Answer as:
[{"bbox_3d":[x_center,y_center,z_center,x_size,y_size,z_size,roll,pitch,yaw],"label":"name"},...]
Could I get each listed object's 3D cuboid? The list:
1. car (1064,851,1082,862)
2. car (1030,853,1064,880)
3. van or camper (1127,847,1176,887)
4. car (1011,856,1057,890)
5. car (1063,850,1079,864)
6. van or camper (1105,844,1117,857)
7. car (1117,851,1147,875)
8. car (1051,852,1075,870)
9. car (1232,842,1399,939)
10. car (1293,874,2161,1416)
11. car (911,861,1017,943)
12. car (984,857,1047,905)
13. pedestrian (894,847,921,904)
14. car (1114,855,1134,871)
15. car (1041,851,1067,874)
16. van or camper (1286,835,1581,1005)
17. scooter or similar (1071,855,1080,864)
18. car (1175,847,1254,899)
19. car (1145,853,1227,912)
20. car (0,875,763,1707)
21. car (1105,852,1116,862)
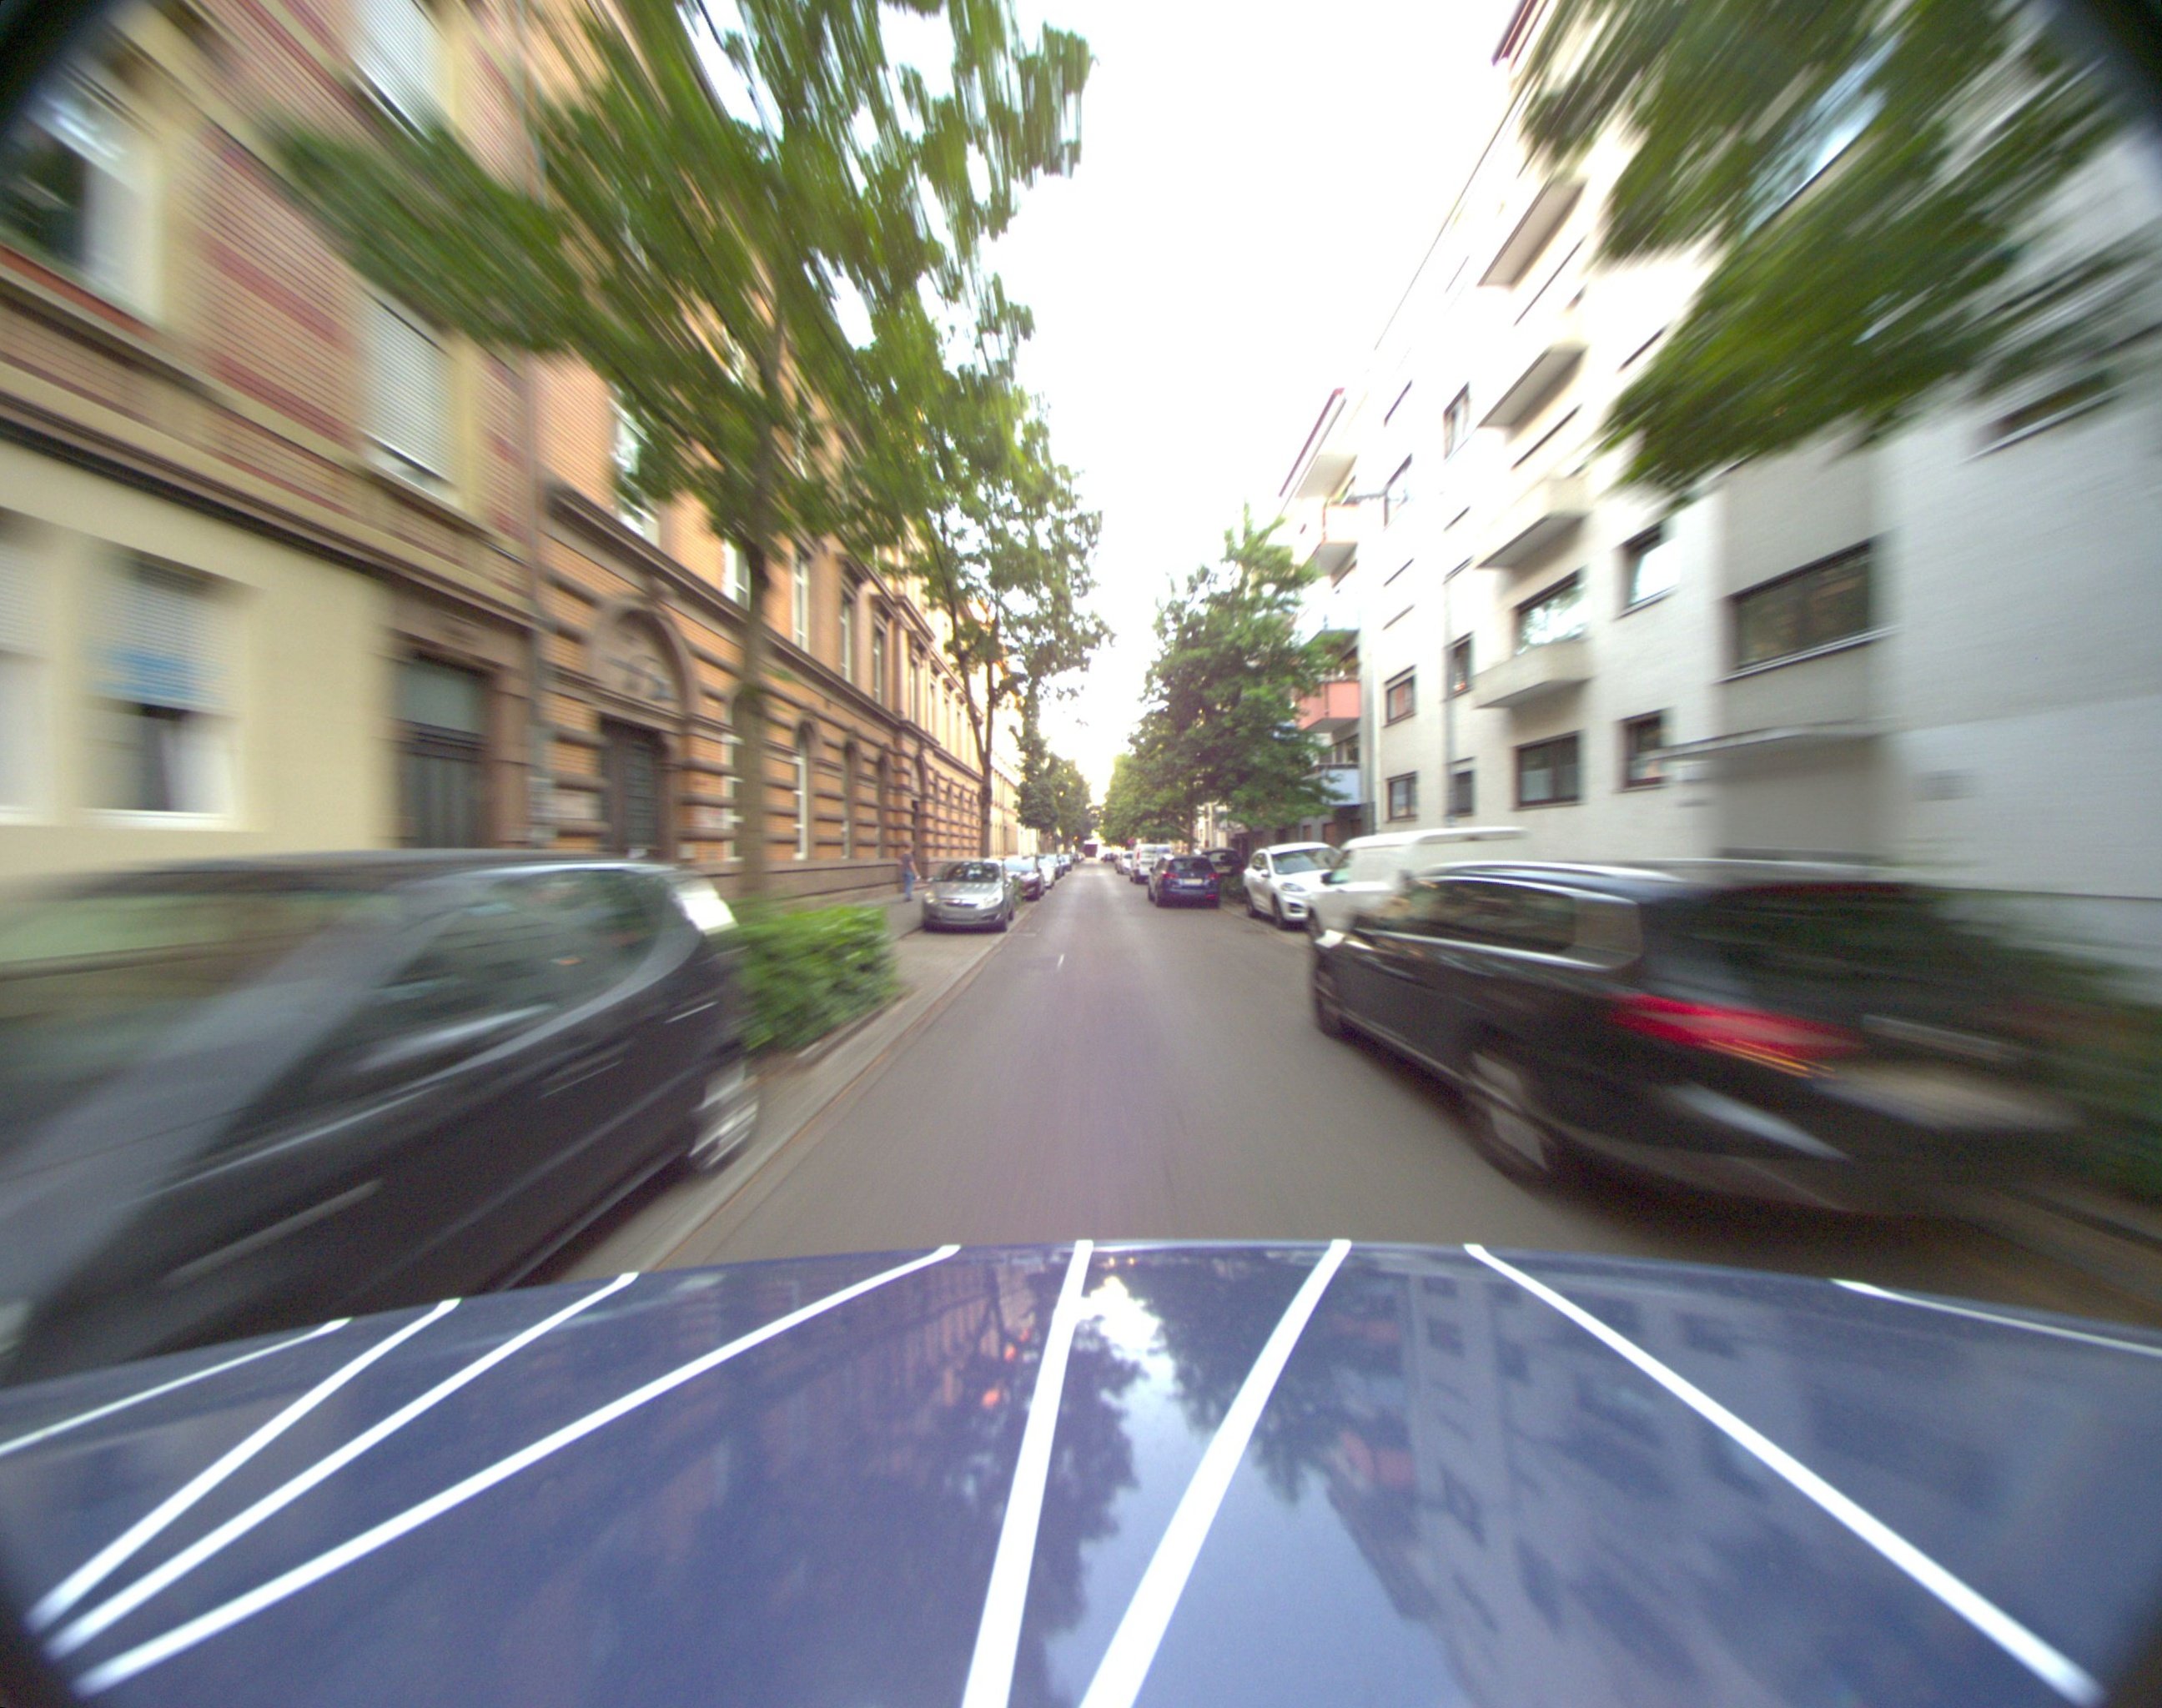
[{"bbox_3d":[-1.237,0.453,121.004,2.804,1.590,1.800,2,1,1],"label":"car"},{"bbox_3d":[-1.894,0.663,43.554,1.716,1.469,4.192,-1,0,0],"label":"car"},{"bbox_3d":[3.384,0.581,37.135,1.881,1.832,4.752,0,0,-1],"label":"van or camper"},{"bbox_3d":[-2.000,0.787,33.584,1.698,1.393,4.646,0,0,0],"label":"car"},{"bbox_3d":[-1.373,0.407,103.165,2.018,1.822,4.811,1,0,1],"label":"car"},{"bbox_3d":[5.624,-0.638,143.307,2.225,2.417,5.660,0,0,1],"label":"van or camper"},{"bbox_3d":[3.470,0.591,52.399,1.668,1.554,3.999,0,0,-2],"label":"car"},{"bbox_3d":[-1.501,0.584,64.726,1.771,1.407,4.474,1,0,1],"label":"car"},{"bbox_3d":[4.774,0.673,16.311,2.039,1.662,4.648,-4,0,0],"label":"car"},{"bbox_3d":[2.782,0.929,4.499,1.851,1.443,4.502,-1,0,1],"label":"car"},{"bbox_3d":[-2.373,0.928,16.338,1.702,1.474,3.999,1,0,-1],"label":"car"},{"bbox_3d":[-2.162,0.850,26.109,1.726,1.441,4.214,0,1,1],"label":"car"},{"bbox_3d":[-5.018,0.613,21.996,0.628,1.639,0.532,-1,1,1],"label":"pedestrian"},{"bbox_3d":[3.872,0.766,68.969,1.584,1.411,3.753,0,0,1],"label":"car"},{"bbox_3d":[-1.753,0.541,49.747,1.632,1.458,4.245,0,0,-1],"label":"car"},{"bbox_3d":[4.498,0.735,10.623,1.936,1.749,4.465,-4,0,0],"label":"van or camper"},{"bbox_3d":[-0.713,0.732,98.928,0.673,1.183,1.118,3,2,40],"label":"scooter or similar"},{"bbox_3d":[4.709,0.604,27.604,1.998,1.637,4.922,-2,0,1],"label":"car"},{"bbox_3d":[2.994,0.769,22.563,1.835,1.508,4.515,-1,1,0],"label":"car"},{"bbox_3d":[-2.556,0.899,2.339,1.616,1.550,3.765,0,0,-1],"label":"car"},{"bbox_3d":[4.835,0.500,124.784,1.728,1.564,4.219,-1,0,1],"label":"car"}]
